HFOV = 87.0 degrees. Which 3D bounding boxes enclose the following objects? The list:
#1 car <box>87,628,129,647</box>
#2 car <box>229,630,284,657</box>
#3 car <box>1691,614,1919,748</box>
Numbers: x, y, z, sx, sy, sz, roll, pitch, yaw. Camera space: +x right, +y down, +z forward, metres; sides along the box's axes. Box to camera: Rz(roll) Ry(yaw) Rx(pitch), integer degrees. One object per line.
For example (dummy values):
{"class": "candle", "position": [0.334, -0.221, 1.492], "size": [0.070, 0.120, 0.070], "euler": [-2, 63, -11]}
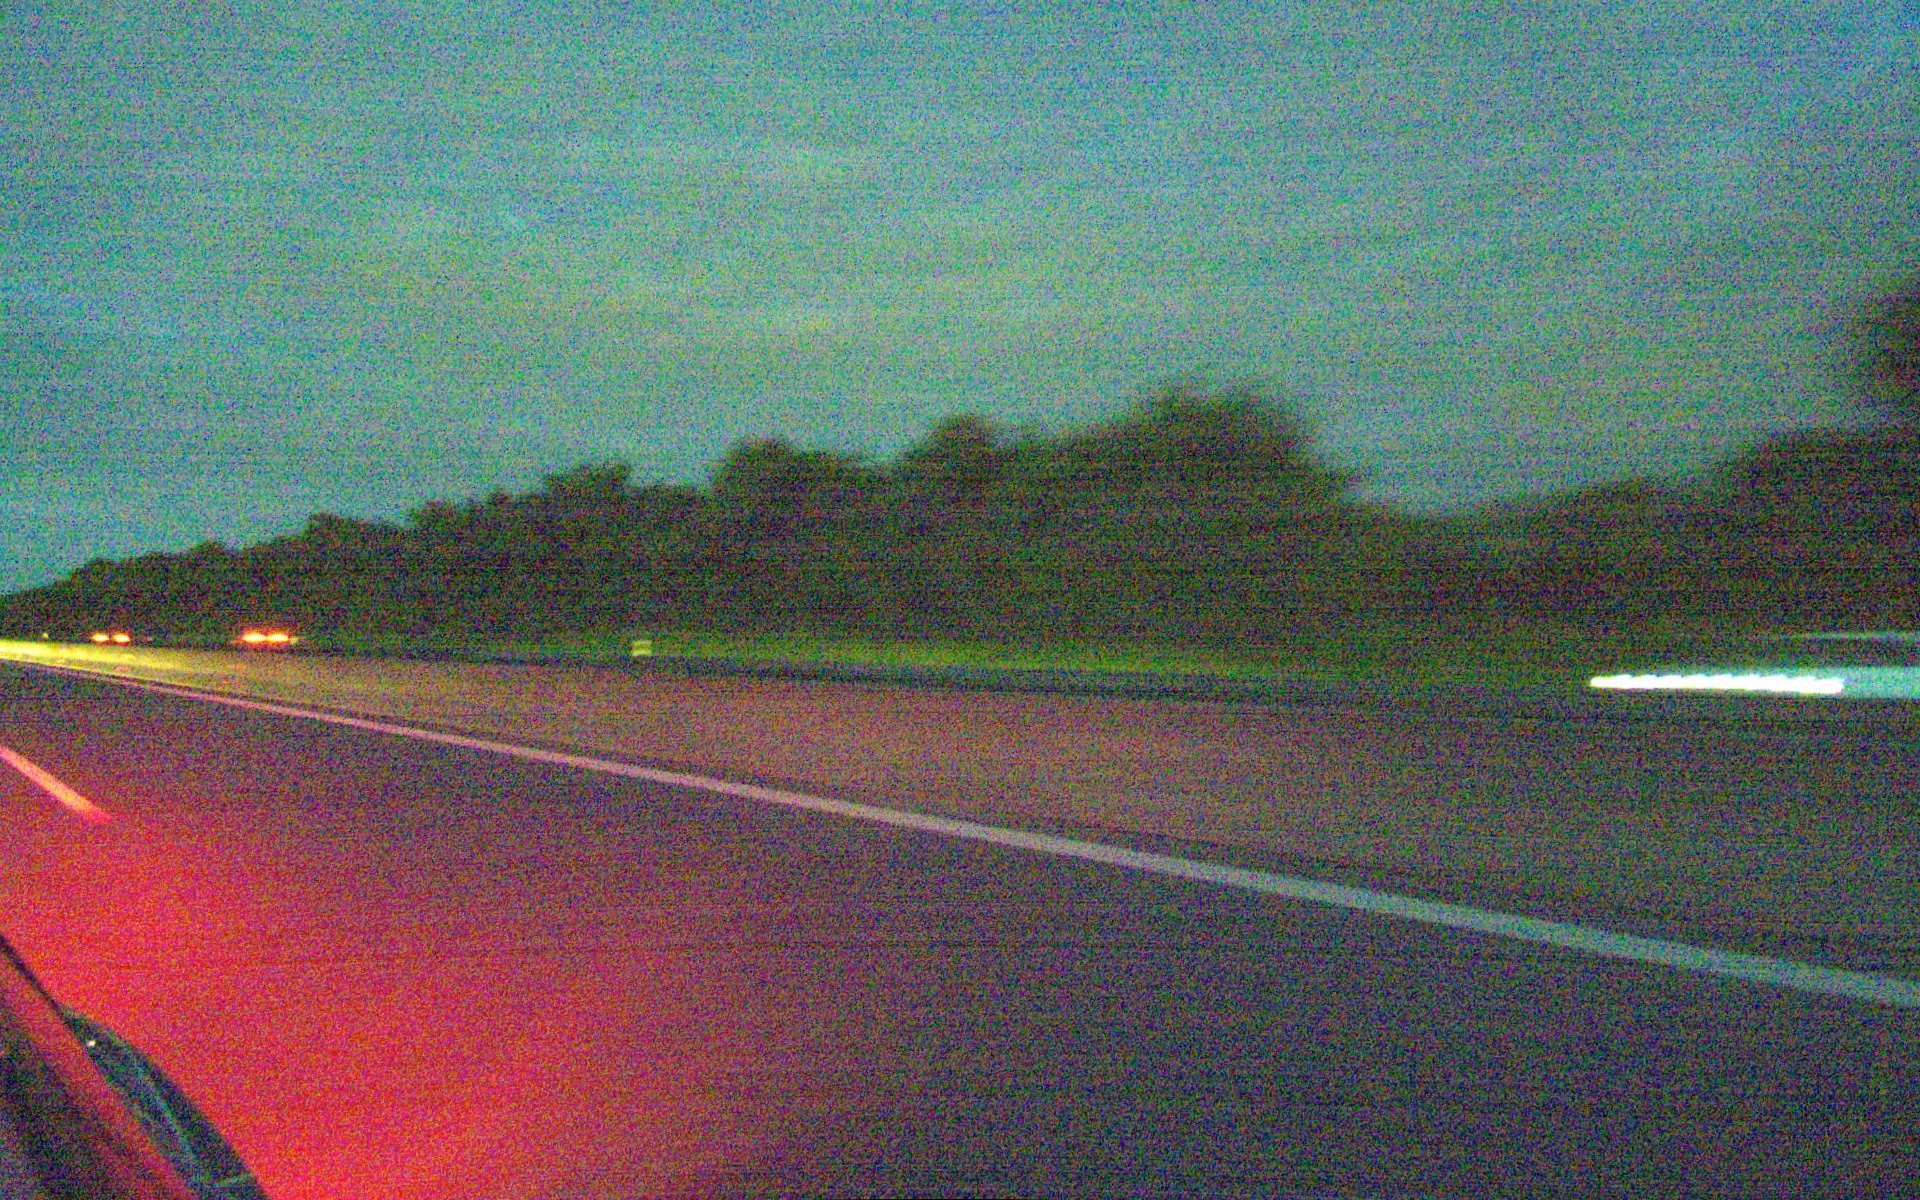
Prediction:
{"class": "car", "position": [-67.681, 2.957, 80.359], "size": [4.653, 1.482, 1.883], "euler": [-2, -2, 42]}
{"class": "car", "position": [-45.372, 2.784, 65.270], "size": [4.653, 1.633, 1.883], "euler": [-2, -2, 42]}
{"class": "car", "position": [13.164, 1.074, 13.800], "size": [5.044, 1.646, 1.883], "euler": [0, 2, 42]}
